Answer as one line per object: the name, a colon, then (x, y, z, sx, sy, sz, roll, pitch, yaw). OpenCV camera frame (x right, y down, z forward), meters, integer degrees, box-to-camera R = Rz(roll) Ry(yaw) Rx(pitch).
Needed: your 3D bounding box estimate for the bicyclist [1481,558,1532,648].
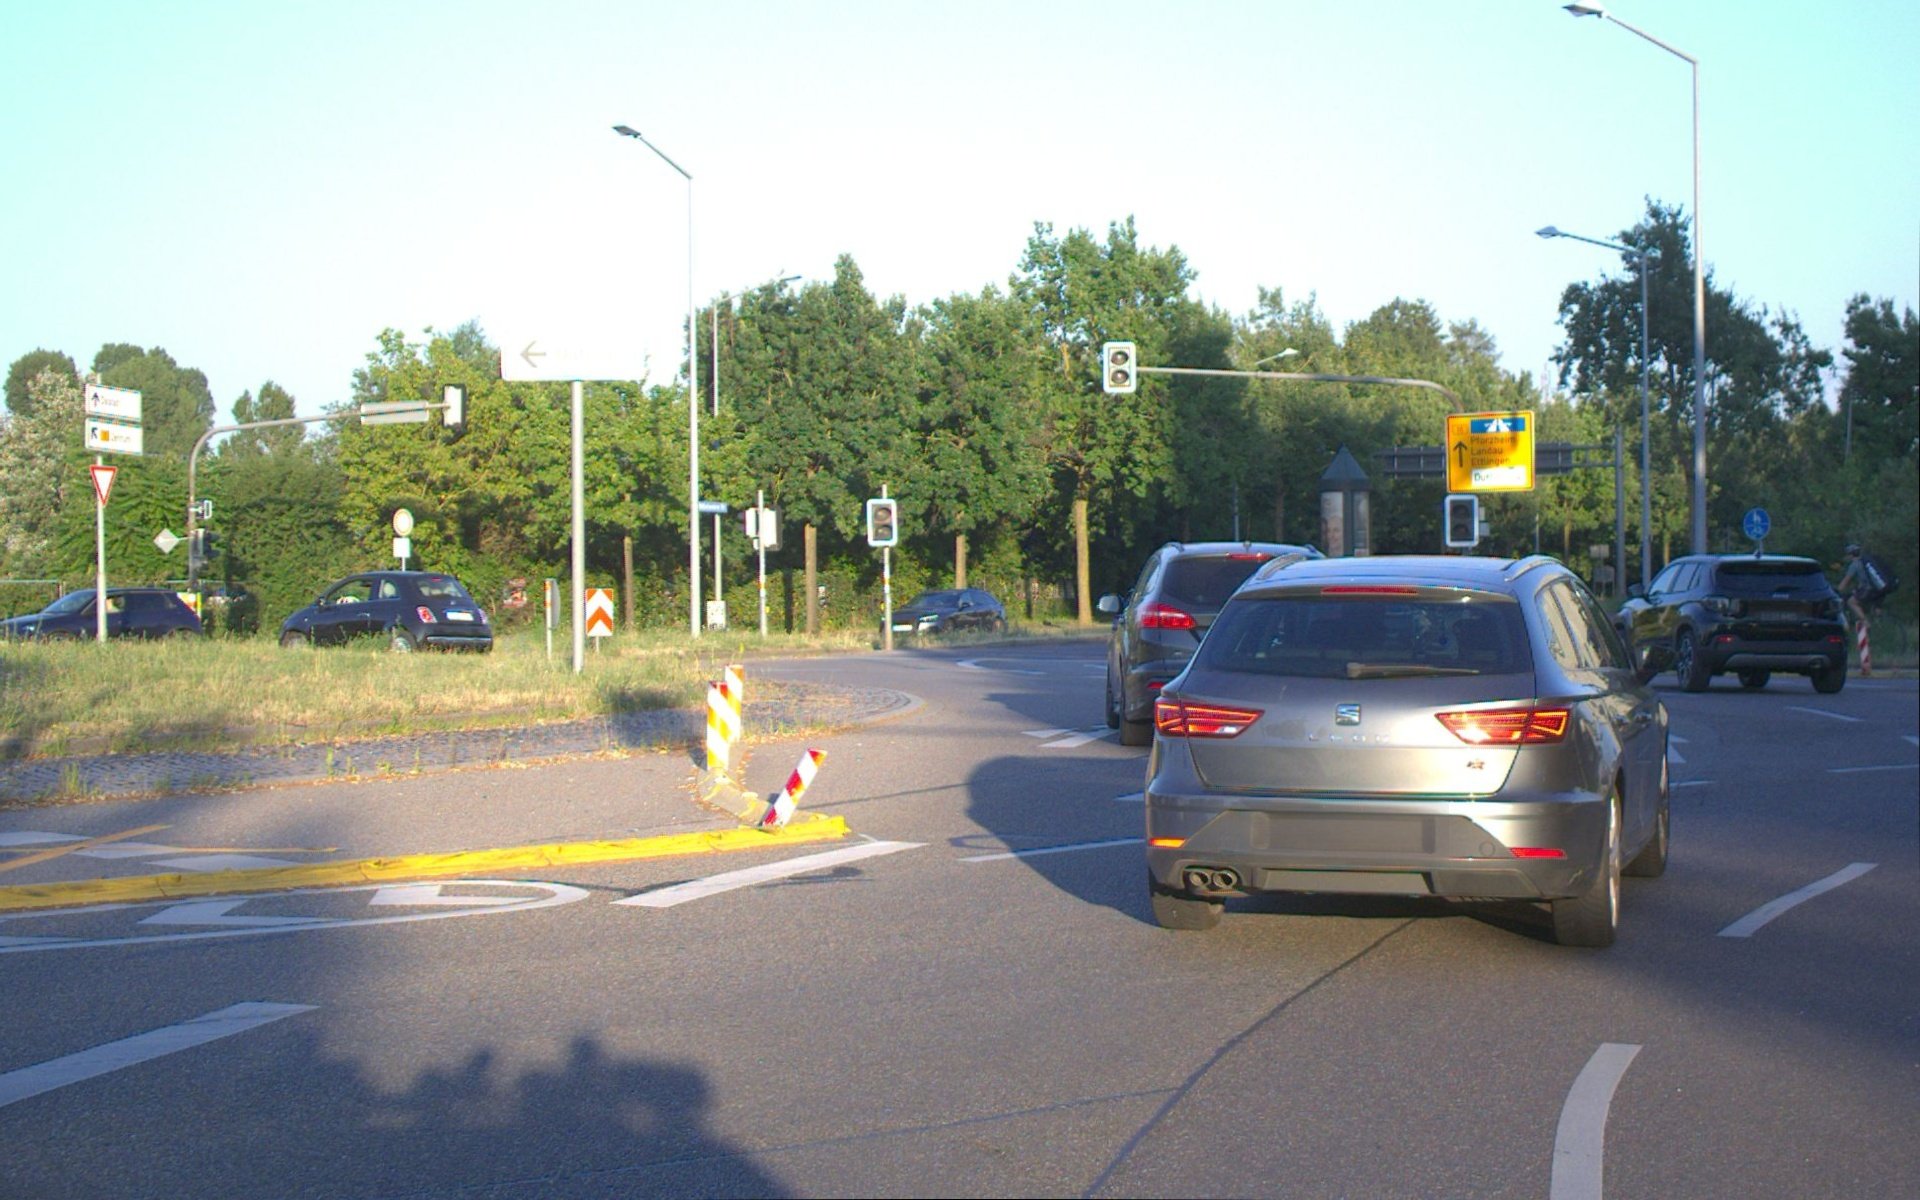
bicyclist: (10.523, 0.059, 66.185, 0.768, 1.696, 0.640, -3, -1, 23)

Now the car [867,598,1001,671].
car: (-0.625, 0.855, 87.981, 1.748, 1.742, 4.592, 0, 1, 23)

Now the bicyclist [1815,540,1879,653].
bicyclist: (15.215, -0.064, 58.983, 0.908, 1.891, 0.640, -2, -1, 23)

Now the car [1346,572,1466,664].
car: (7.454, 0.274, 57.713, 1.746, 1.483, 4.134, 0, 1, 4)

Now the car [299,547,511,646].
car: (-8.464, -0.075, 52.174, 1.746, 1.441, 4.135, 0, 1, -31)

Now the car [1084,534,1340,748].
car: (1.911, 0.255, 25.627, 1.746, 1.461, 4.134, 0, 1, 5)

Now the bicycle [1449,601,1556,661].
bicycle: (10.450, 0.596, 66.226, 1.924, 1.081, 0.456, -3, -1, 24)

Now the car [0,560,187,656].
car: (-16.843, 0.129, 63.717, 4.583, 1.742, 1.751, -1, 1, -35)

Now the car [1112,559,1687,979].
car: (1.917, 0.547, 13.845, 1.747, 1.419, 4.132, 0, 1, 15)

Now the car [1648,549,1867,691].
car: (8.986, 0.188, 39.028, 1.812, 1.520, 4.134, 0, 1, 4)
